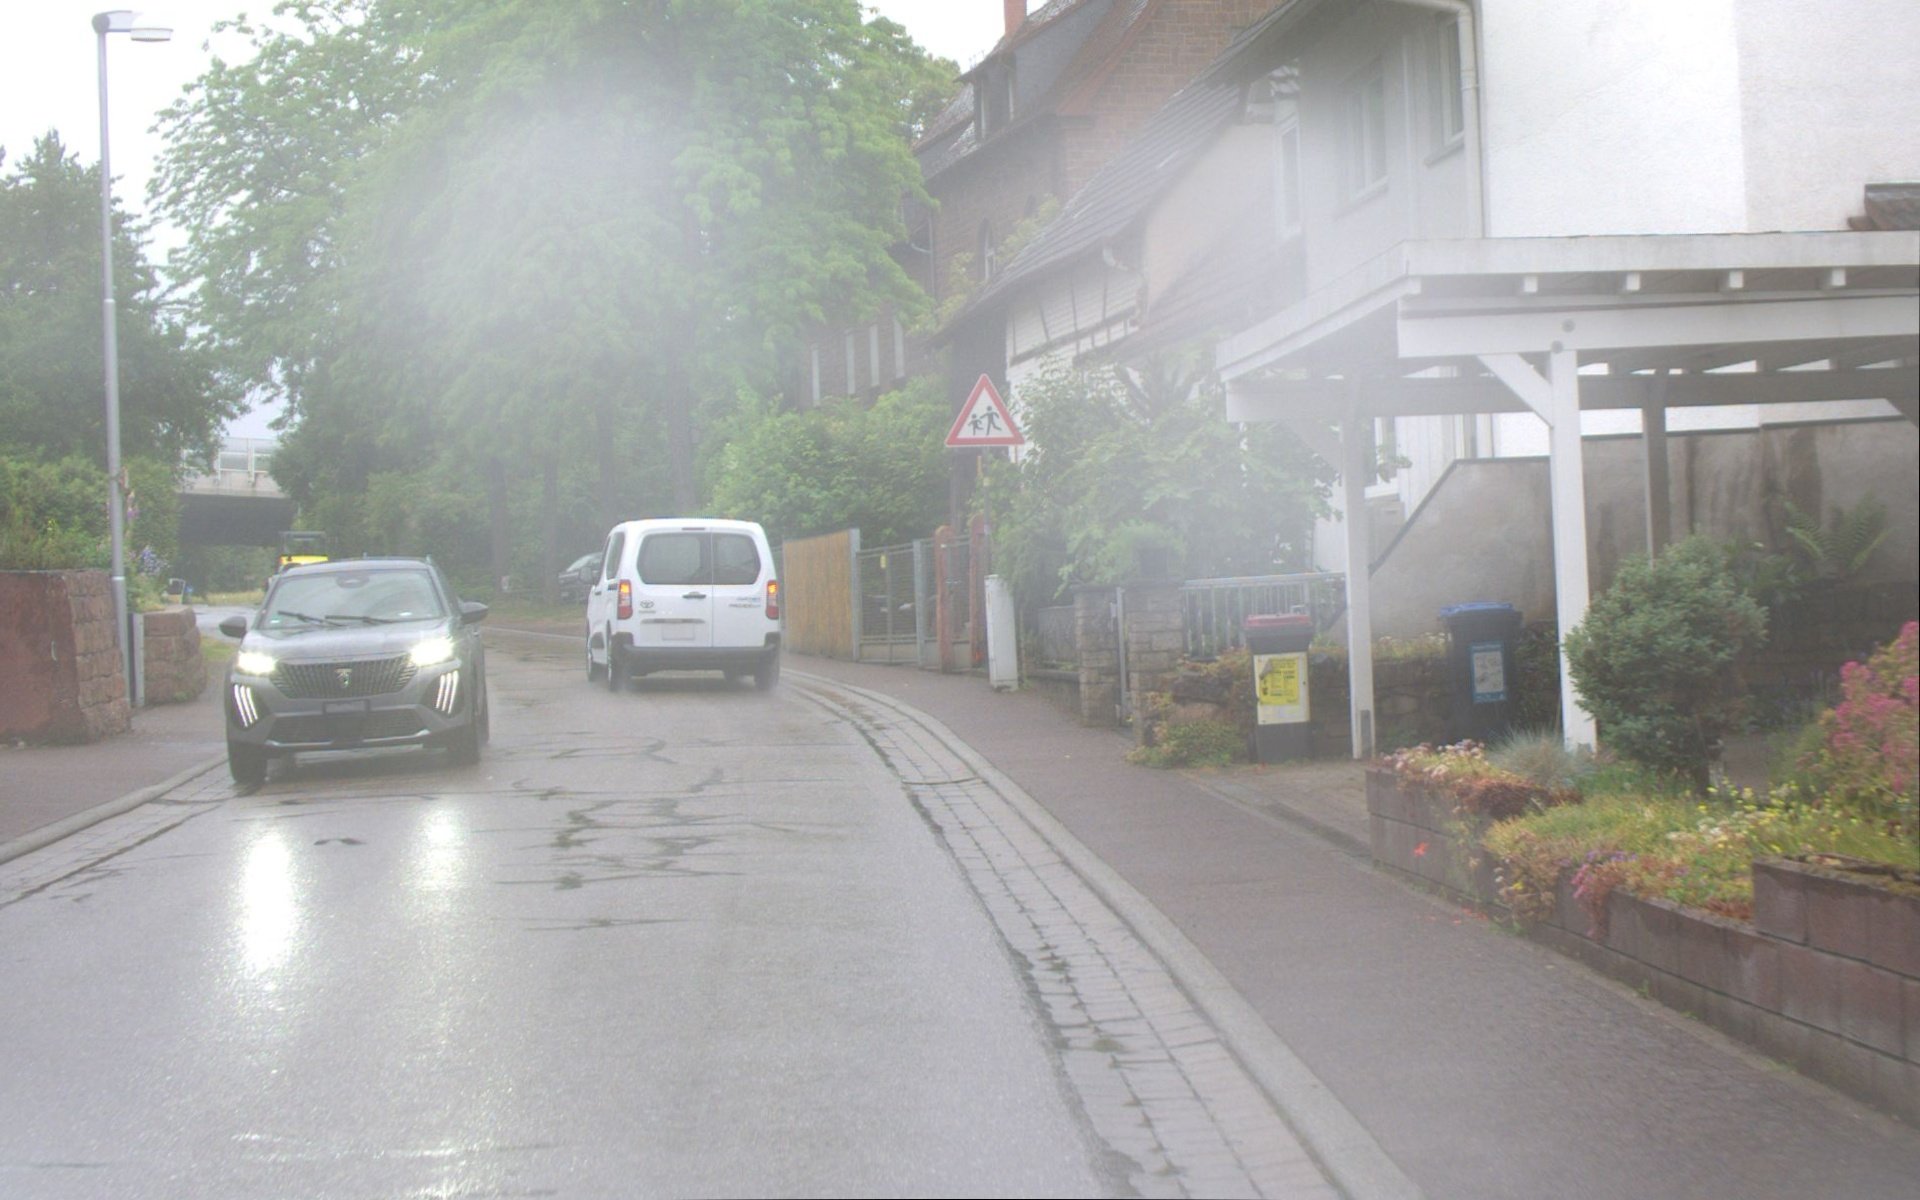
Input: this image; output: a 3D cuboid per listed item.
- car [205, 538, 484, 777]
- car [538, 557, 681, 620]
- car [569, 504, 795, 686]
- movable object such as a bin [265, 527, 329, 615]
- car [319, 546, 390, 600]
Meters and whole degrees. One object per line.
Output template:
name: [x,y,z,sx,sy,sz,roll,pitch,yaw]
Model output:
car: [-4.526,0.364,25.734,1.699,1.541,3.851,-4,1,-6]
car: [-9.232,-0.314,90.712,1.620,1.546,3.605,-2,0,39]
car: [-3.061,-0.091,37.147,1.896,1.800,4.001,-2,1,-12]
movable object such as a bin: [-19.680,-0.841,101.892,1.761,2.539,4.240,0,0,-12]
car: [-16.047,-0.702,91.013,1.708,1.373,4.001,0,0,-12]
